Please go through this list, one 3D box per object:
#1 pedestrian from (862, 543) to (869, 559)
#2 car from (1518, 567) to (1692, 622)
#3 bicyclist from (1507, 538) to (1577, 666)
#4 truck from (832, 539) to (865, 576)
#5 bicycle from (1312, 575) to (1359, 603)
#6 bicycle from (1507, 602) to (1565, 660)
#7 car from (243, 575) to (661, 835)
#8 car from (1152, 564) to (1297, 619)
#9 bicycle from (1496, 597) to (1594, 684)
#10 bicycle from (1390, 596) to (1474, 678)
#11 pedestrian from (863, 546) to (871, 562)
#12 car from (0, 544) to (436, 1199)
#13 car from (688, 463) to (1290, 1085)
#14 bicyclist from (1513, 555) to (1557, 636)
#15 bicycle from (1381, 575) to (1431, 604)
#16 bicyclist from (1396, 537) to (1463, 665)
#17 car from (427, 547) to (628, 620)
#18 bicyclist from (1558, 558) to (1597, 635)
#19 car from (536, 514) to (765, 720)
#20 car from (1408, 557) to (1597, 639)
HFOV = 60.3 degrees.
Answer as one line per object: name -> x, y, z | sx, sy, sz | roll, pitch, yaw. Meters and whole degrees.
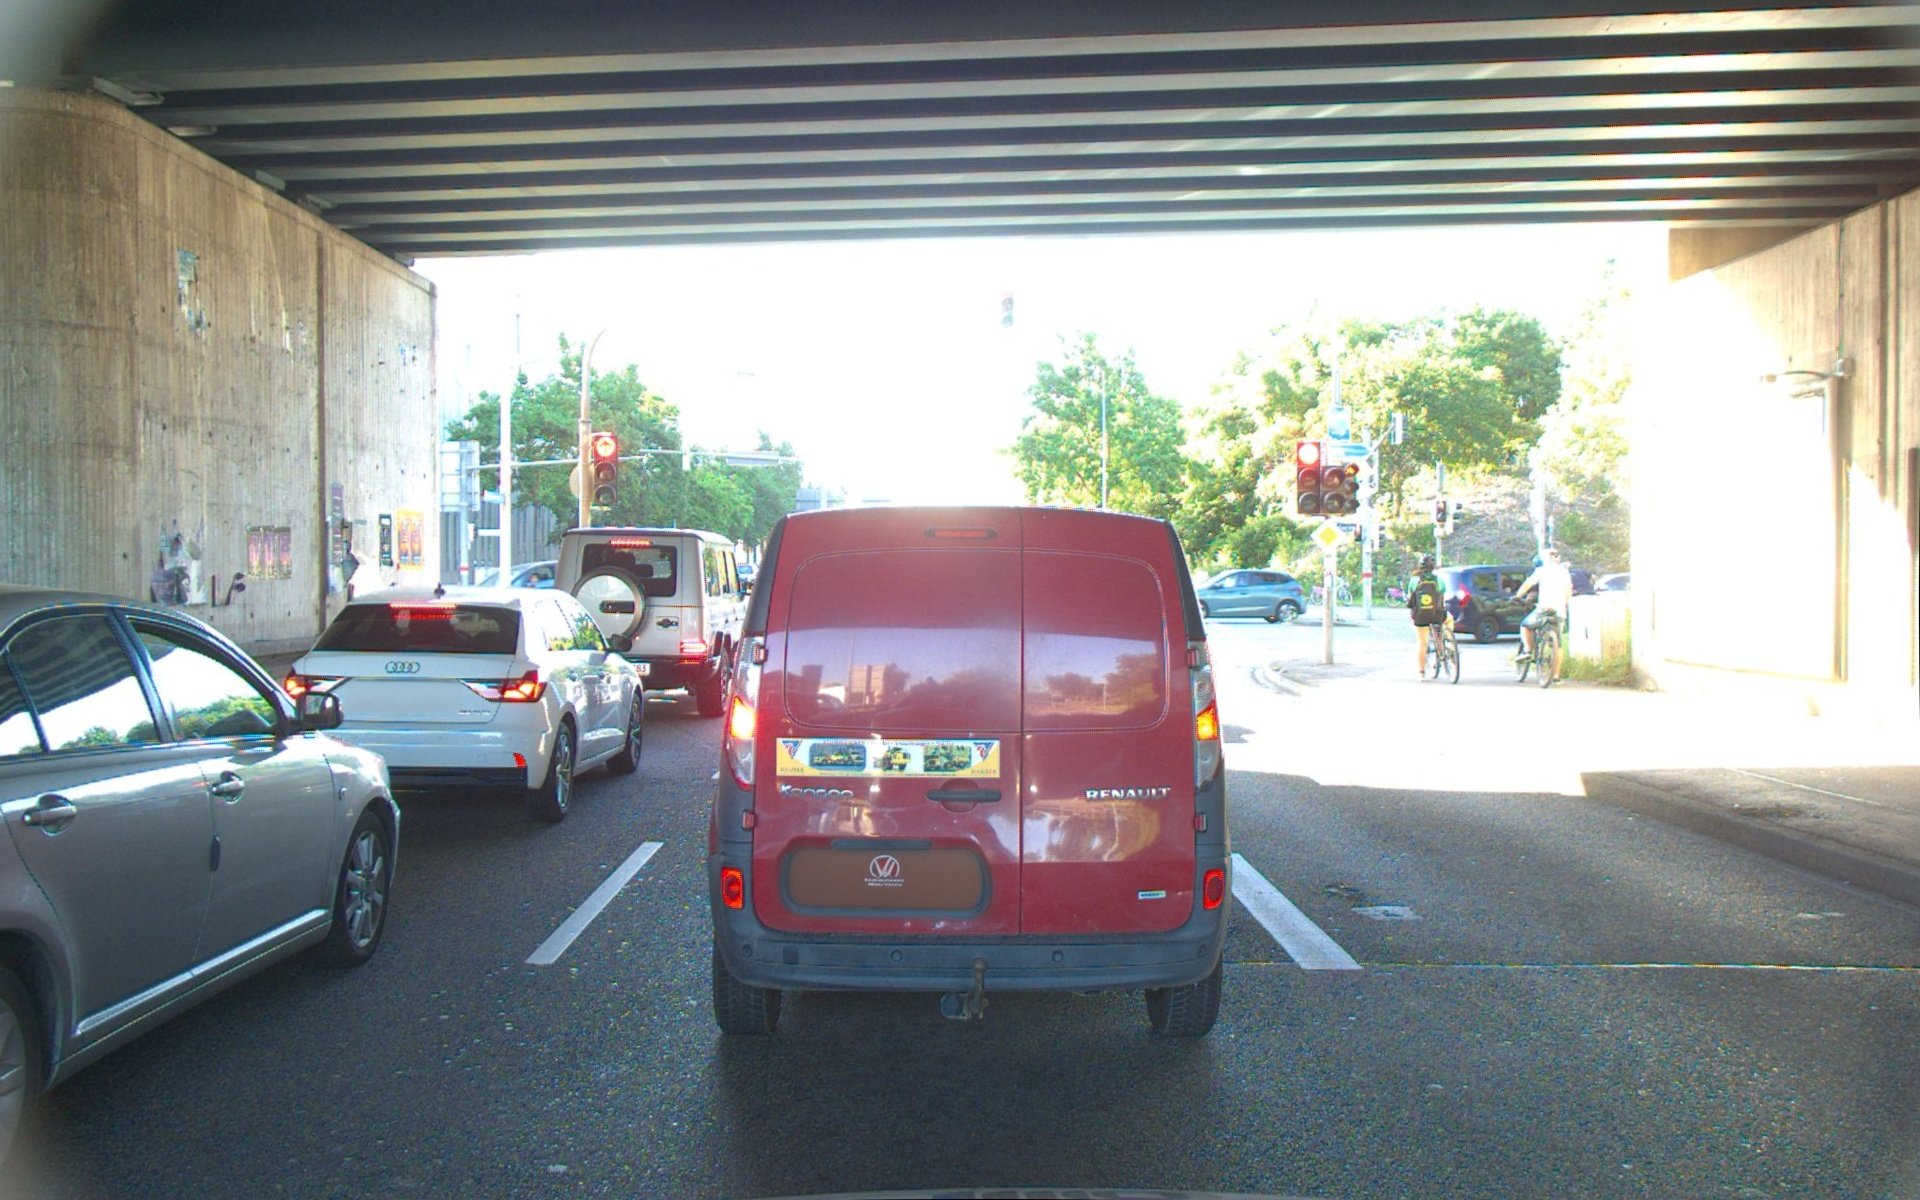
pedestrian -> -11.906, -6.176, 208.232 | 0.724, 2.049, 0.638 | 1, -1, 3
car -> 18.983, -0.156, 48.843 | 4.451, 1.540, 1.829 | 1, 0, 6
bicyclist -> 7.311, 0.023, 20.805 | 0.580, 1.575, 0.769 | 1, -1, -1
truck -> -9.872, -3.767, 147.408 | 2.360, 3.079, 6.657 | -2, 1, 0
bicycle -> 14.211, -0.420, 62.607 | 1.707, 1.041, 0.594 | 1, 0, 8
bicycle -> 10.831, 0.575, 31.168 | 0.657, 1.041, 2.057 | 1, 0, 9
car -> -3.250, 0.577, 11.355 | 1.777, 1.463, 3.730 | 1, 1, -1
car -> 7.232, -0.242, 45.436 | 3.671, 1.473, 1.694 | 0, 0, -3
bicycle -> 7.331, 0.488, 20.793 | 0.579, 1.041, 1.750 | 1, 0, -1
bicycle -> 6.213, 0.474, 21.856 | 0.579, 1.041, 1.750 | 1, 0, -1
pedestrian -> -12.305, -6.137, 219.175 | 0.921, 2.049, 0.694 | 1, -1, 3
car -> -3.005, 0.623, 4.857 | 1.698, 1.506, 4.317 | 0, 0, -2
car -> 0.063, 0.529, 6.923 | 1.768, 1.826, 3.999 | 1, 0, -1
bicyclist -> 10.846, -0.087, 31.208 | 0.650, 1.500, 0.752 | 1, -1, 10
bicycle -> 16.478, -0.387, 61.179 | 1.707, 1.041, 0.594 | 1, 0, 8
bicyclist -> 6.205, 0.017, 21.893 | 0.580, 1.642, 0.942 | 1, 0, -1
car -> -9.803, -0.340, 37.872 | 1.788, 1.540, 4.555 | 1, 0, 29
bicyclist -> 12.152, -0.079, 32.551 | 0.635, 1.506, 0.619 | 1, 1, 14
car -> -3.352, 0.181, 18.783 | 1.764, 2.023, 4.588 | 1, 0, -1
car -> 12.049, -0.037, 36.733 | 3.917, 1.736, 1.711 | 0, 0, -25
